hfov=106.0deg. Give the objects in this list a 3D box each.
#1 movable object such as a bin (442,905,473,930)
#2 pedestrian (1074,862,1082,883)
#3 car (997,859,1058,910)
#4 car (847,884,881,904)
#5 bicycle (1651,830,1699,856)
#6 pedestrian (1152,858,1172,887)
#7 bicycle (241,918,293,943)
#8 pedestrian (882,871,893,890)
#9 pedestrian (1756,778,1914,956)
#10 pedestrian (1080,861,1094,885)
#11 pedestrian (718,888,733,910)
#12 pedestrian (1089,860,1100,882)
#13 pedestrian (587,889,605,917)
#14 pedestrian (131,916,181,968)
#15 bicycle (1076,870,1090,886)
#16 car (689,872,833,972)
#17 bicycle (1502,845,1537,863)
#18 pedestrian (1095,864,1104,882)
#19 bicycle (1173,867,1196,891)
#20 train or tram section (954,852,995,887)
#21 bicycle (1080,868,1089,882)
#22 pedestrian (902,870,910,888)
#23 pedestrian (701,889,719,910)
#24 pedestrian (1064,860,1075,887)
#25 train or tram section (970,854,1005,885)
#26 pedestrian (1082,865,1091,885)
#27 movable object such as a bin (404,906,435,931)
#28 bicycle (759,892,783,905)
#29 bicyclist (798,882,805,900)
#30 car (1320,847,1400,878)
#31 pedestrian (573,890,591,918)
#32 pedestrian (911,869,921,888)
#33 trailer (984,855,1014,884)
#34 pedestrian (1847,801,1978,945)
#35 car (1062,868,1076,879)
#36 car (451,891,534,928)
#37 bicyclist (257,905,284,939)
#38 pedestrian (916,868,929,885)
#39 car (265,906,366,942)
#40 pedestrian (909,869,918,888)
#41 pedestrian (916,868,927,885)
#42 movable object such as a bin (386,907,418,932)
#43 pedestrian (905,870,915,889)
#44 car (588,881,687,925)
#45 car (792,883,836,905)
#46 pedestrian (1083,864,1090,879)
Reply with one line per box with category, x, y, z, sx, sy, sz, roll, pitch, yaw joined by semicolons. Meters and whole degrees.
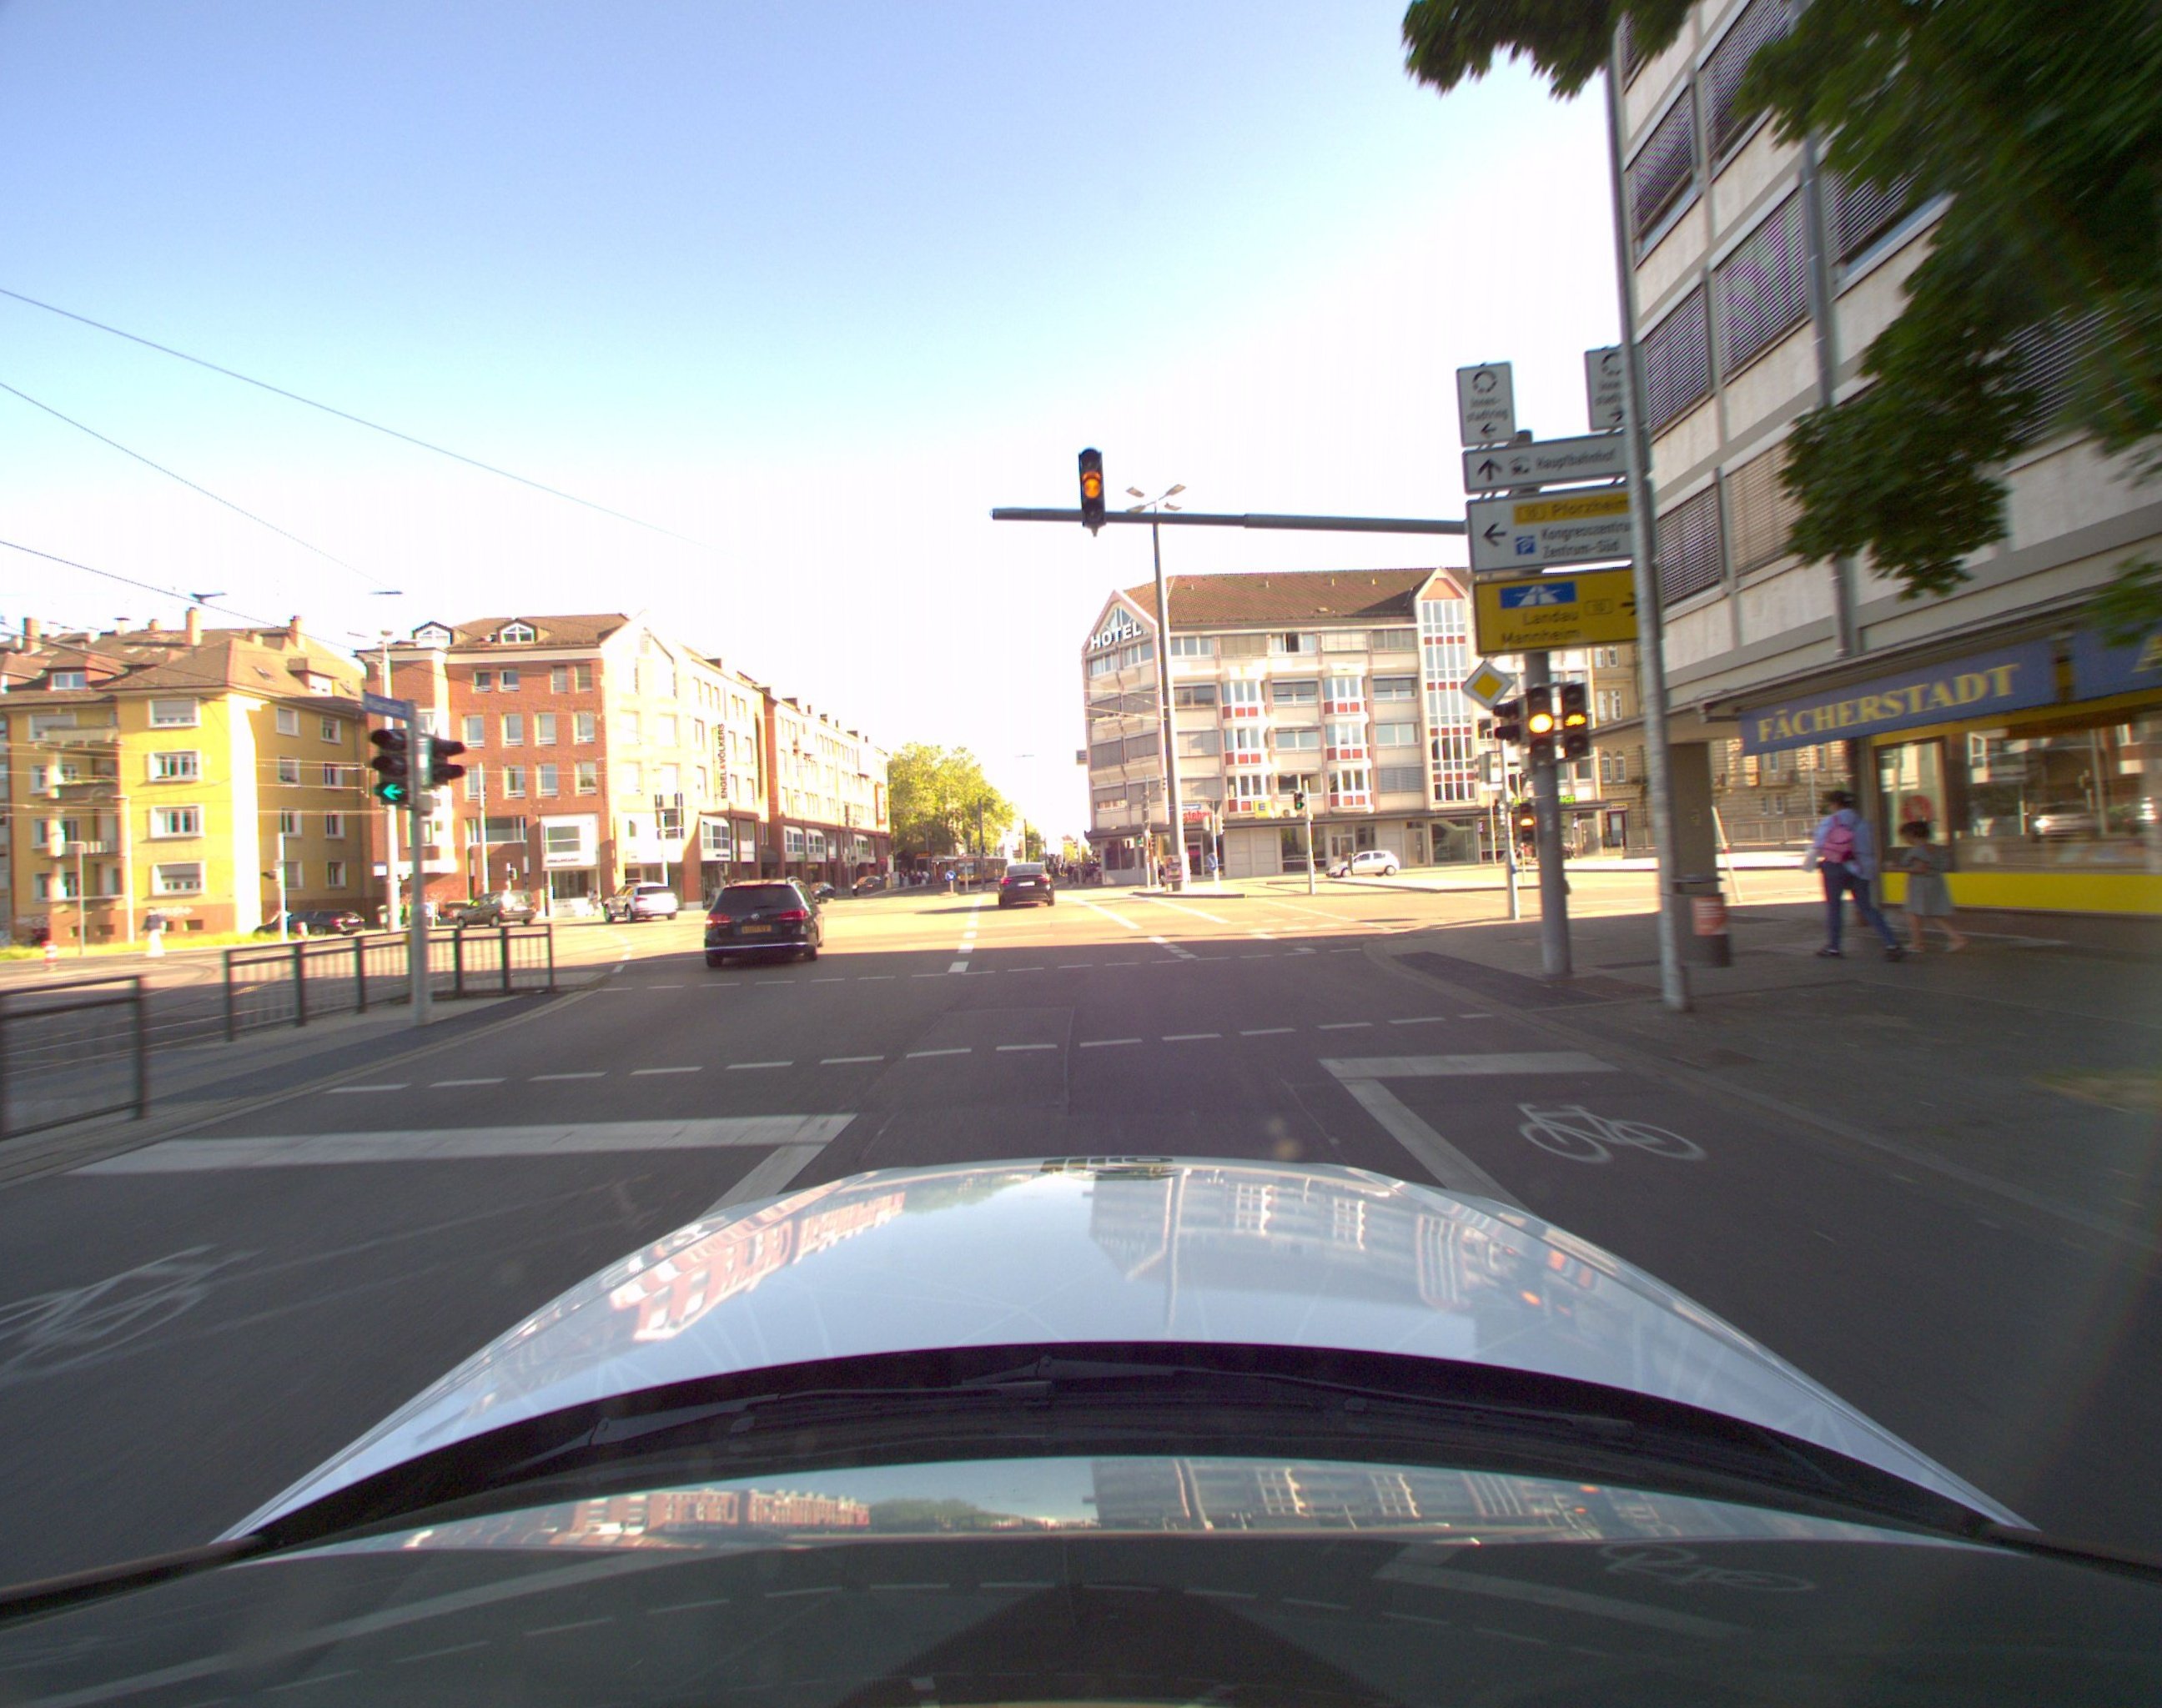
movable object such as a bin;-38.061;3.850;49.720;0.994;1.437;1.094;-3;-2;-5
pedestrian;-0.236;1.445;62.939;0.472;1.563;0.543;-2;-2;-11
car;-1.814;0.966;27.419;1.787;1.450;3.933;-4;0;-5
car;-18.716;3.433;70.478;1.812;1.544;3.790;-5;-1;-1
bicycle;27.157;-0.484;37.267;0.593;1.080;1.994;-2;-1;-2
pedestrian;4.422;0.998;44.512;0.779;1.576;0.864;-2;0;-11
bicycle;-44.905;4.237;44.934;2.034;1.223;0.626;-2;-2;-10
pedestrian;-16.327;2.215;68.653;0.630;1.564;0.588;-3;-2;21
pedestrian;7.793;0.144;8.474;0.836;1.721;0.884;-3;-2;19
pedestrian;0.450;1.415;60.609;0.911;1.755;0.840;-3;-2;3
pedestrian;-25.435;3.216;58.320;0.709;1.594;0.777;0;-2;2
pedestrian;1.102;1.357;65.217;0.687;1.688;0.668;-2;-2;-13
pedestrian;-30.641;3.097;51.474;0.687;1.727;0.710;-3;-2;-5
pedestrian;-32.653;3.093;28.766;0.693;1.710;0.929;-3;-2;-2
bicycle;0.121;1.776;60.261;0.489;1.161;1.962;-2;-2;-16
car;-5.670;1.104;14.969;1.767;1.444;4.507;-3;-1;-13
bicycle;28.181;-0.024;52.349;1.963;1.049;0.535;-3;-2;-5
pedestrian;1.797;1.866;79.735;0.744;1.678;0.699;-3;-2;2
bicycle;5.753;1.393;45.442;0.544;1.285;1.897;-2;-2;-15
train or tram section;-11.798;1.702;90.827;2.718;3.542;10.090;-3;-1;2
bicycle;0.260;1.614;62.506;0.487;1.102;2.121;-3;-1;-4
pedestrian;-15.178;2.193;70.710;0.584;1.531;0.634;-2;-2;-13
pedestrian;-28.023;3.426;61.515;0.876;1.568;0.868;-3;-2;26
pedestrian;-0.796;1.329;55.301;0.625;1.782;0.917;-3;-2;-2
train or tram section;-11.439;1.893;100.947;2.703;3.546;10.171;-3;-1;2
pedestrian;0.448;1.859;71.365;0.694;1.678;0.750;-3;-2;2
movable object such as a bin;-40.346;3.941;49.697;0.994;1.437;1.094;-3;-2;-5
bicycle;-25.278;3.633;66.408;1.705;0.900;0.521;-3;-2;0
bicyclist;-23.315;3.084;67.877;0.483;1.470;0.714;-2;-2;-19
car;15.639;0.483;45.808;3.830;1.432;1.802;-3;-3;-2
pedestrian;-31.461;3.129;51.367;0.687;1.727;0.710;-3;-2;-5
pedestrian;-15.846;2.345;78.240;0.631;1.721;0.611;-3;-2;10
trailer;-11.105;2.113;110.714;2.703;3.546;9.361;-3;-1;2
pedestrian;8.670;0.198;8.516;0.641;1.422;0.622;-3;-2;5
car;-1.947;3.243;135.752;1.727;1.665;3.717;-3;-1;8
car;-29.034;2.726;40.161;3.737;1.618;1.587;-3;-2;24
bicyclist;-44.787;3.740;44.987;0.828;1.772;0.612;-2;-2;-10
pedestrian;-15.677;2.214;80.463;1.104;1.625;0.846;-3;-2;-7
car;-39.516;3.603;42.092;3.454;1.551;1.729;-3;-2;-3
pedestrian;-15.984;2.345;77.611;0.631;1.721;0.587;-3;-2;10
pedestrian;-15.574;2.201;79.520;0.998;1.625;0.846;-3;-2;-7
movable object such as a bin;-41.343;3.989;49.603;0.994;1.437;1.094;-3;-2;-5
pedestrian;-15.843;2.381;75.418;0.578;1.721;0.641;-4;-2;43
car;-18.945;2.087;34.780;3.445;1.635;1.855;-3;-2;21
car;-21.533;3.217;65.884;1.808;1.454;3.983;-5;-1;5
pedestrian;0.707;2.167;102.033;0.694;1.896;0.750;-3;-2;2
